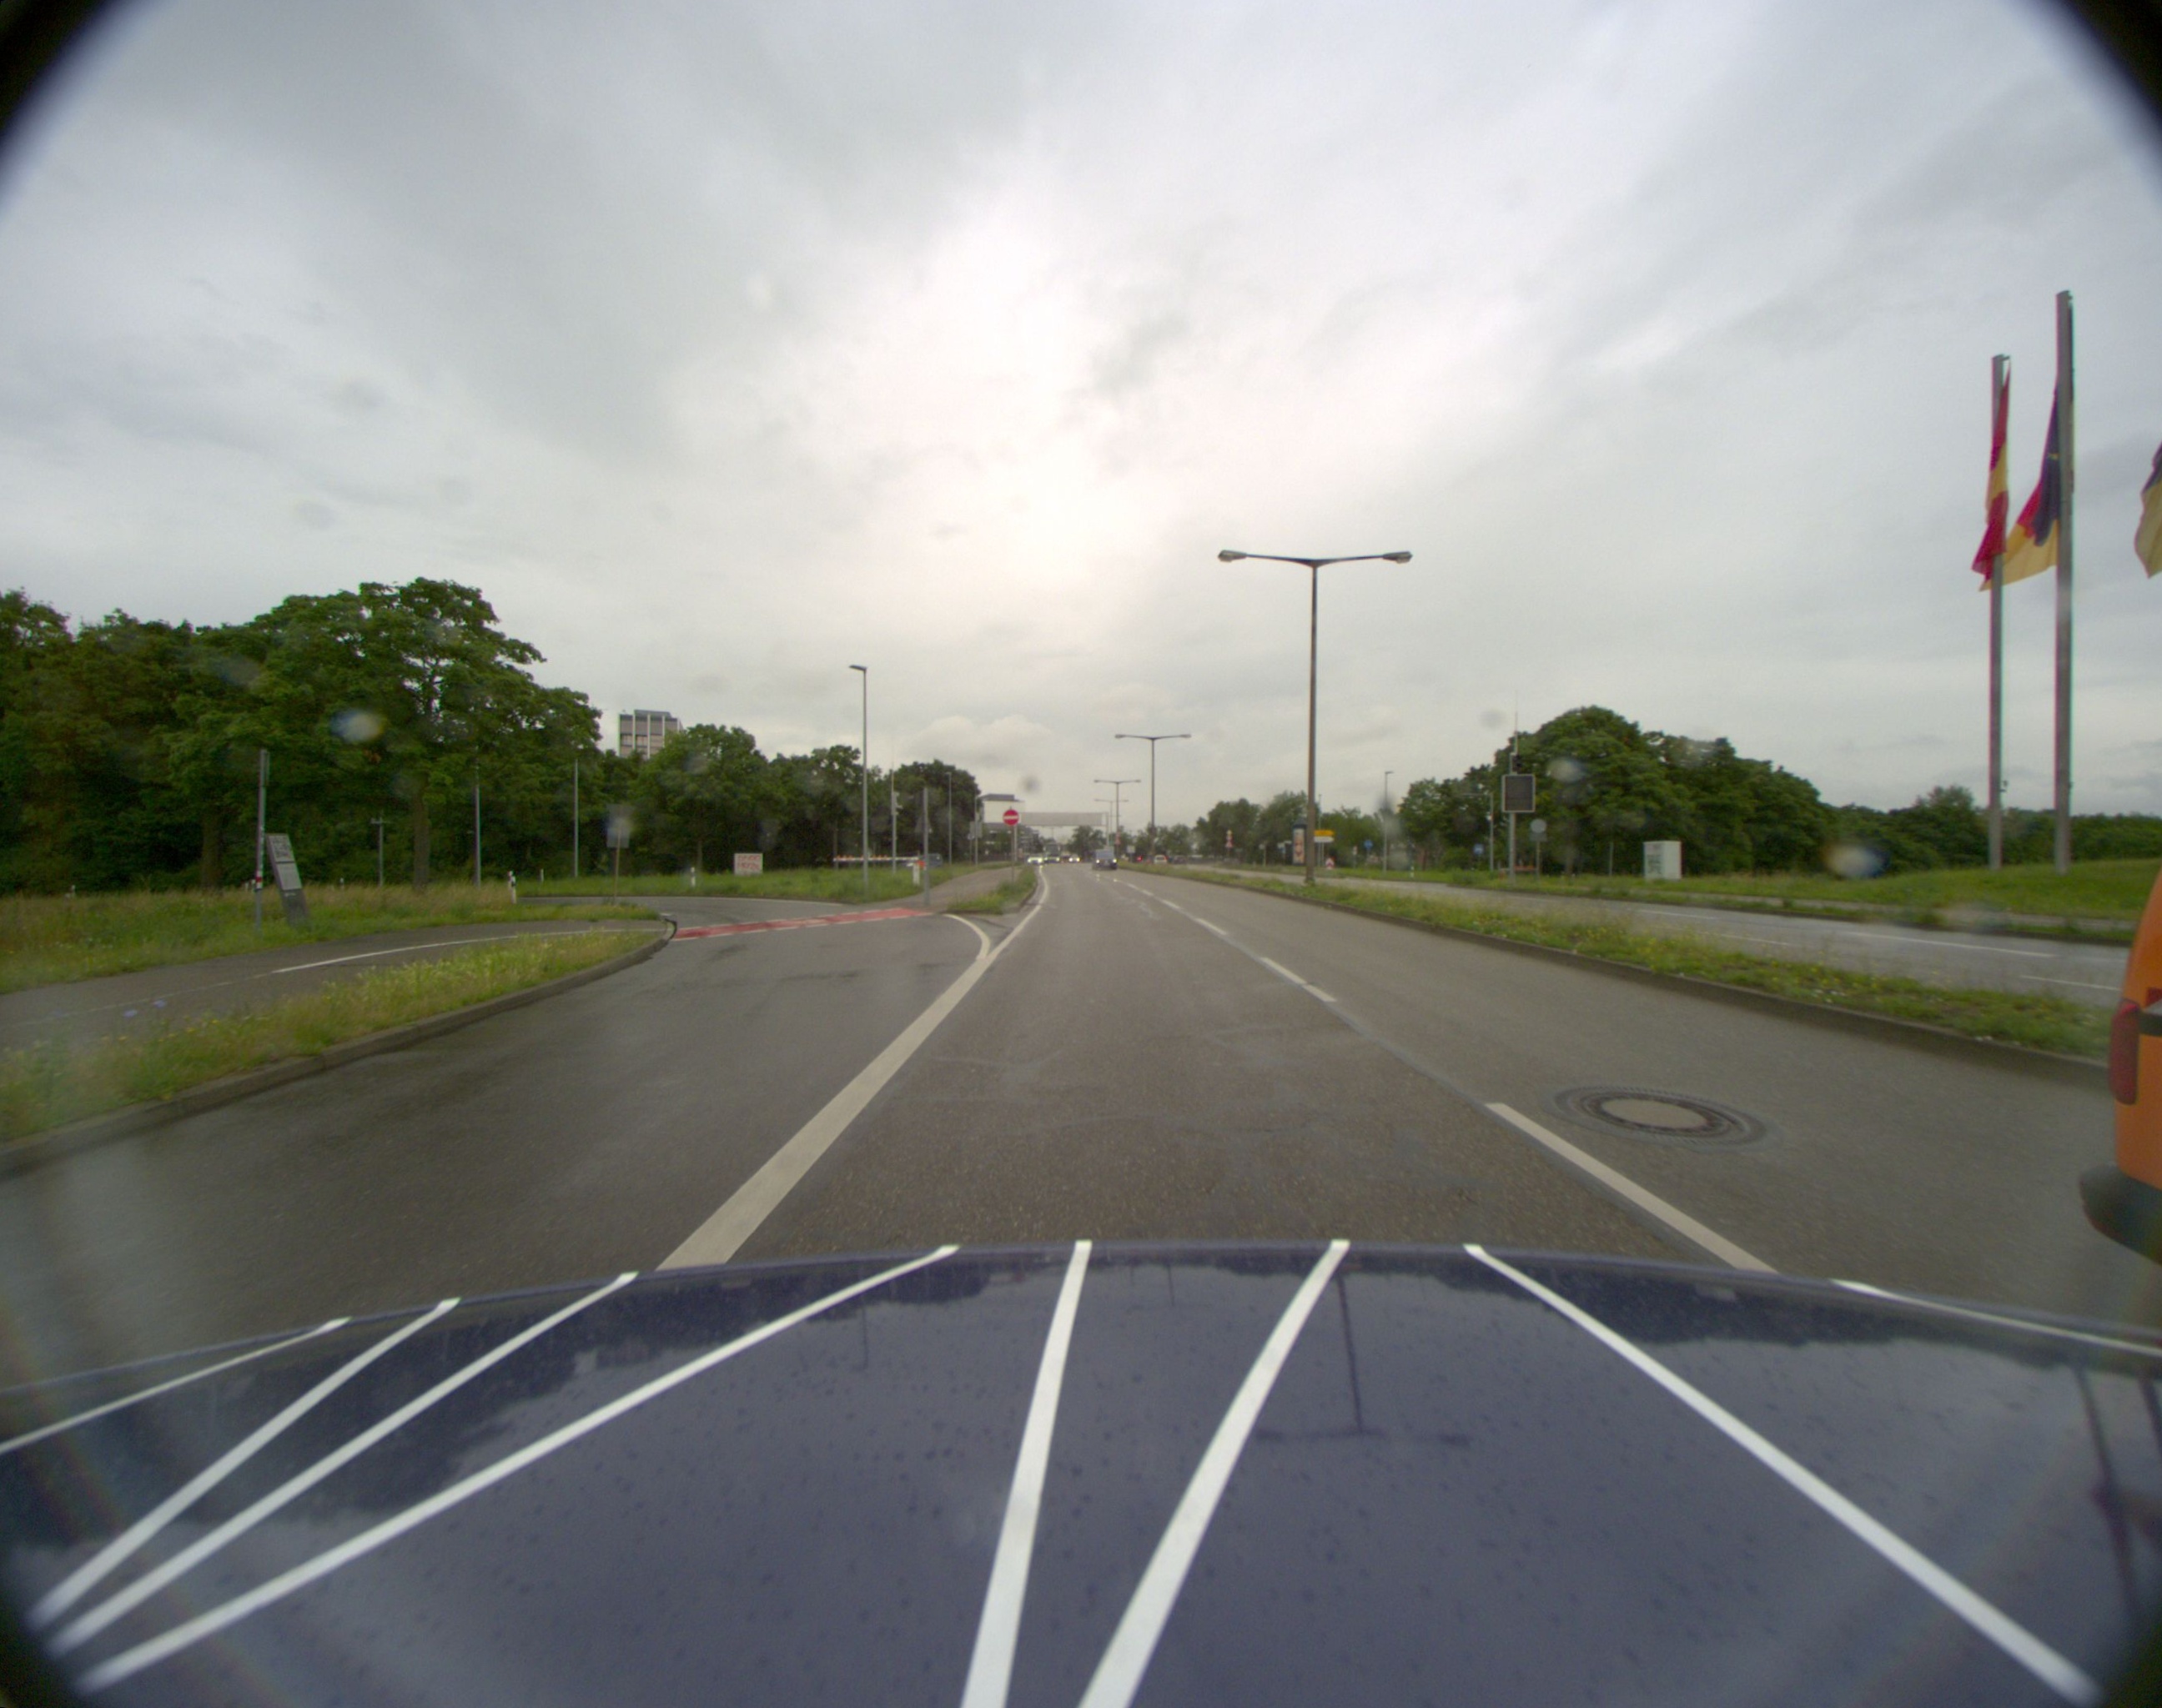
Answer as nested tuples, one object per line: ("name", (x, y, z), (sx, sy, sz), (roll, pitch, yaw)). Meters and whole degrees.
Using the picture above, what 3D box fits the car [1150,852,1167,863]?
("car", (11.049, 0.489, 108.182), (1.850, 1.612, 4.030), (-1, 0, -2))

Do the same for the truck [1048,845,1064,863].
("truck", (-4.573, -0.012, 139.357), (2.860, 3.197, 8.095), (-1, 1, -1))

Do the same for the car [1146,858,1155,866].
("car", (16.666, 1.916, 181.894), (1.850, 1.740, 4.031), (-1, 0, 2))

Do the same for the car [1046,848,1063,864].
("car", (-3.751, 0.286, 108.938), (2.253, 2.249, 5.169), (-1, 0, -1))

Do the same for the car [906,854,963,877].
("car", (-13.029, 0.996, 67.842), (1.846, 1.741, 4.826), (-1, 2, 38))

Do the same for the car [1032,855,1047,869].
("car", (-5.383, 0.998, 98.757), (1.841, 1.740, 3.999), (-1, 0, -1))

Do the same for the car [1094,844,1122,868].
("car", (2.238, 0.135, 64.159), (1.851, 1.741, 4.814), (-3, 2, -3))

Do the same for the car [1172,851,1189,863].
("car", (15.305, 0.446, 116.594), (1.851, 1.740, 4.029), (-1, 0, -4))
